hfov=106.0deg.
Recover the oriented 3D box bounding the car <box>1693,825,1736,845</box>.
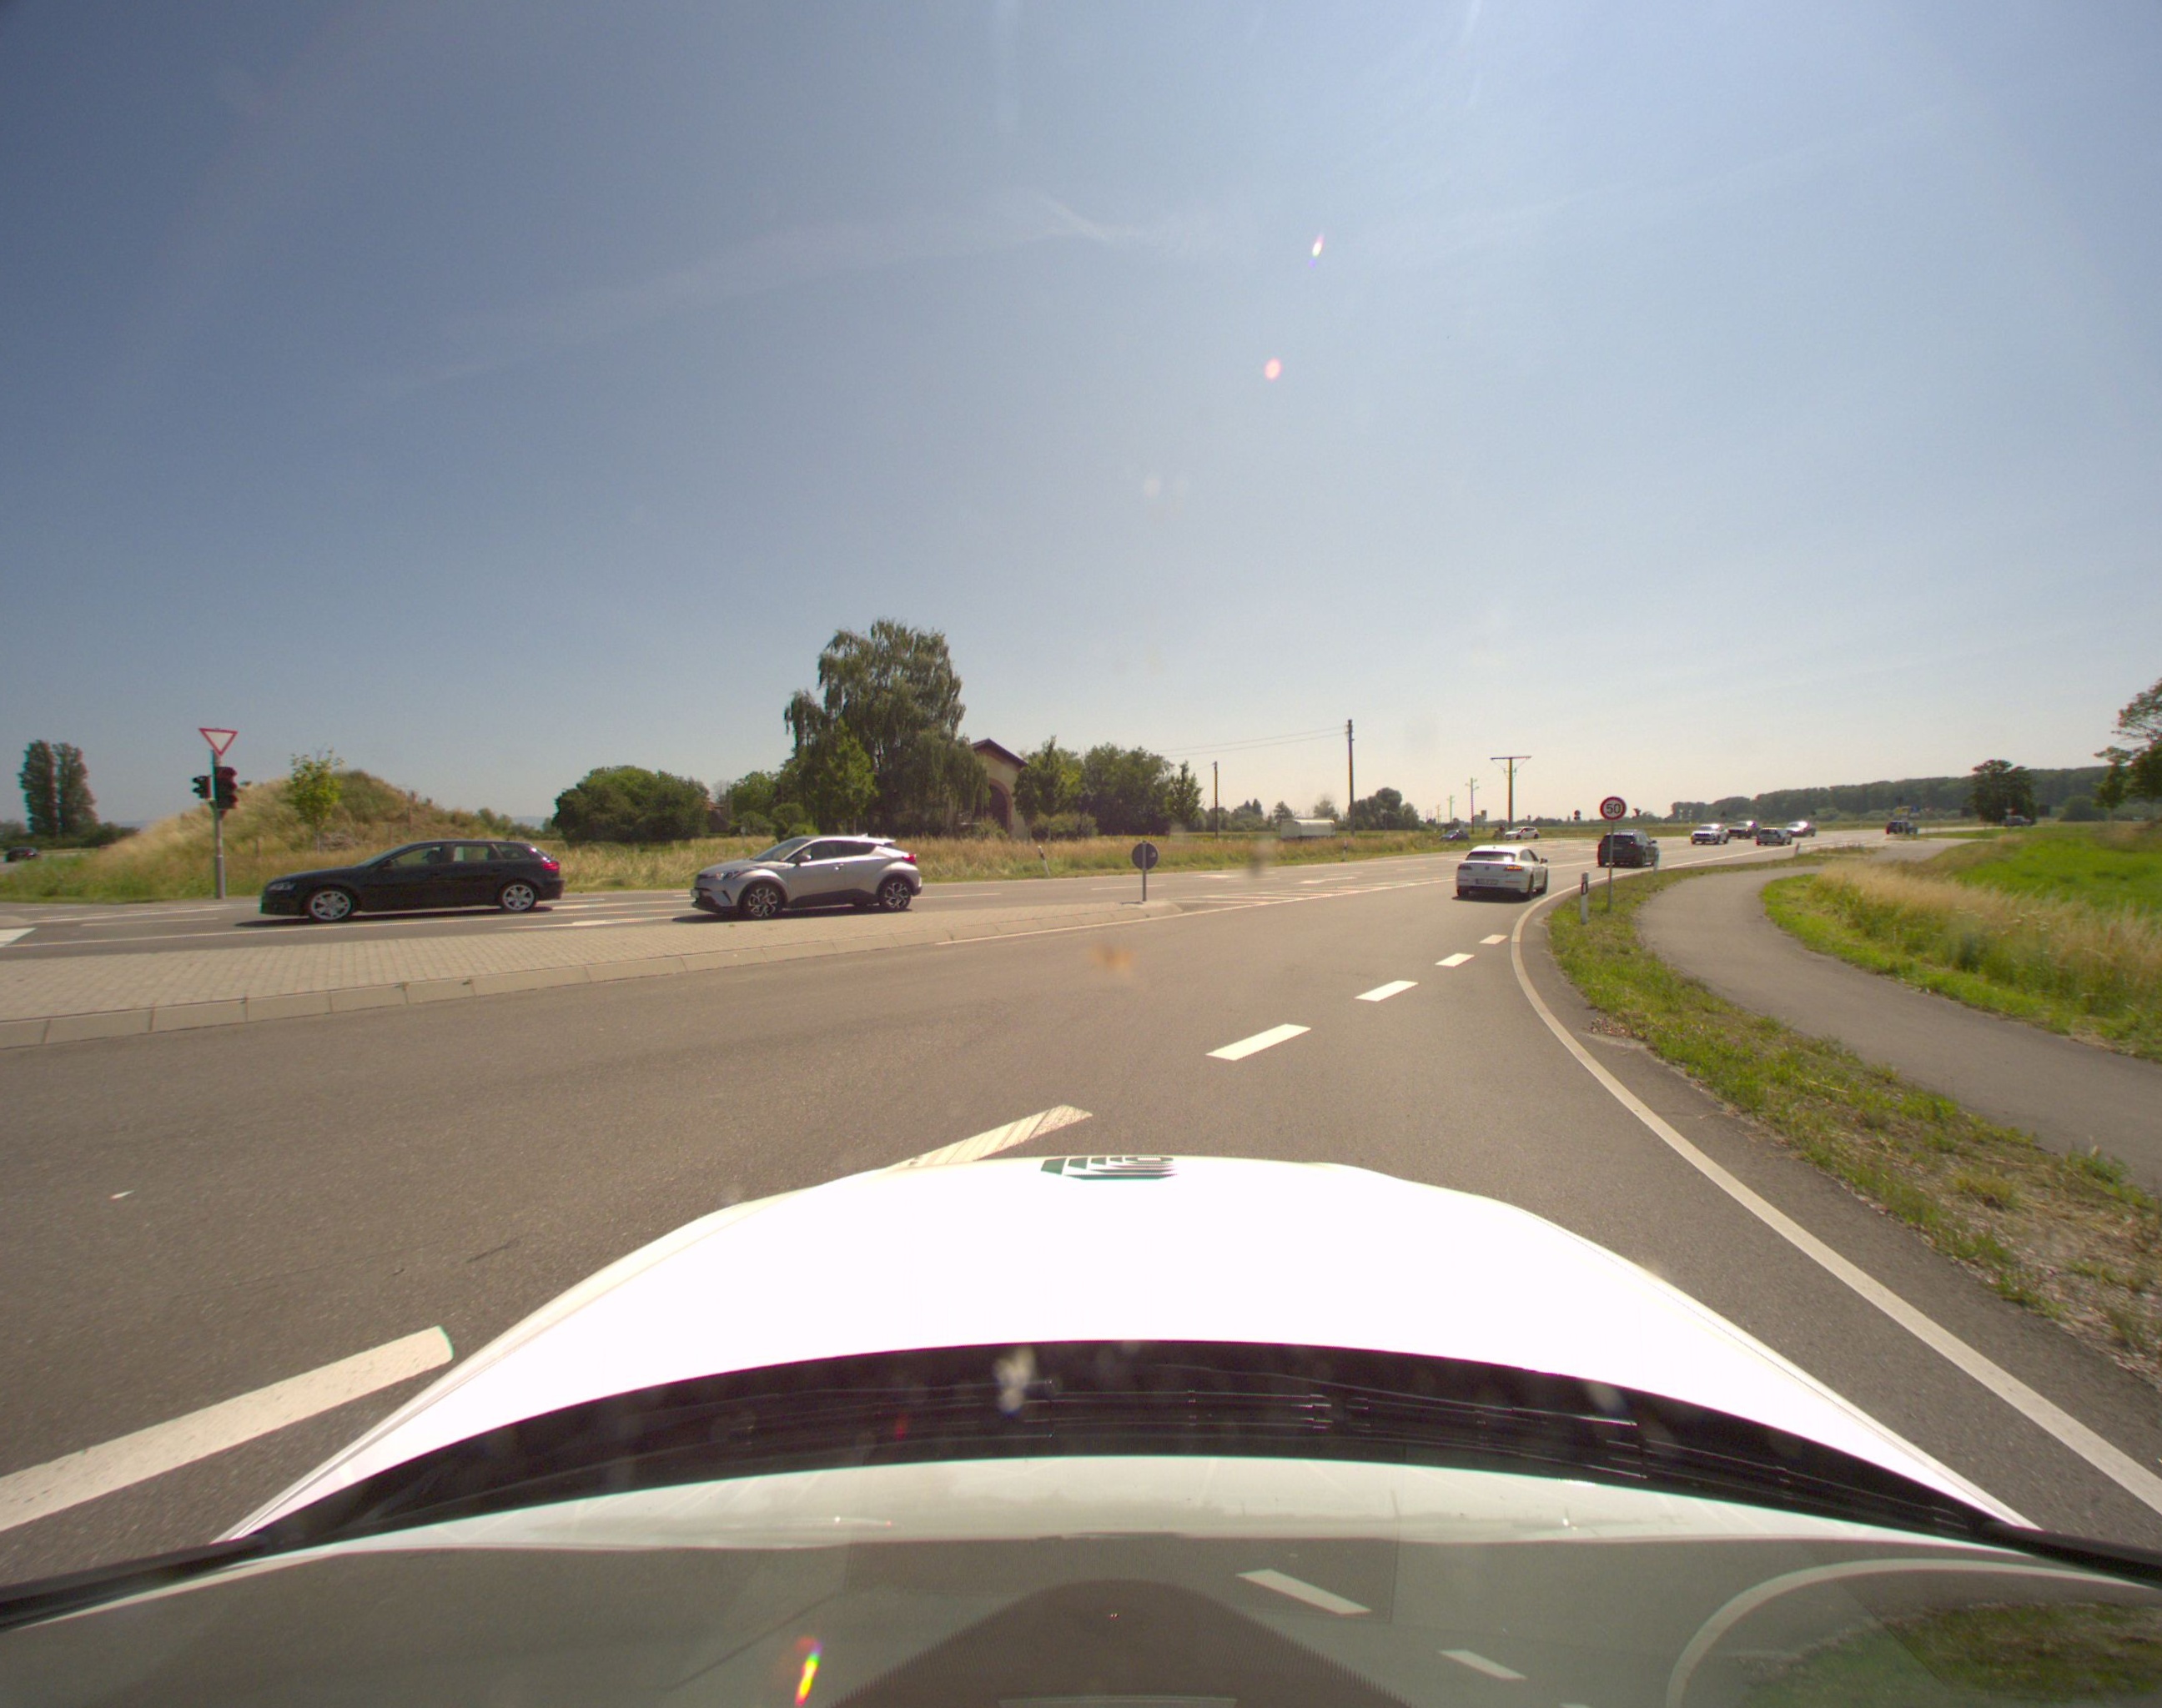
[{"bbox_3d":[53.590,-1.606,68.886,4.868,1.650,1.863,-1,3,-40],"label":"car"}]

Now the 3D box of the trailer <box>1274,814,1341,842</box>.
[{"bbox_3d":[20.852,-2.399,74.926,6.414,2.455,2.656,-2,3,-38],"label":"trailer"}]

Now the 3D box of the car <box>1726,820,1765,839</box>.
[{"bbox_3d":[65.667,-2.393,80.482,4.436,1.724,2.062,0,0,-38],"label":"car"}]

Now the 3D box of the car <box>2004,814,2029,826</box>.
[{"bbox_3d":[128.023,-4.638,111.473,3.899,1.522,1.786,-1,-1,-35],"label":"car"}]

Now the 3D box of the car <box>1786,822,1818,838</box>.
[{"bbox_3d":[74.905,-2.516,84.619,4.436,1.556,1.718,0,0,-39],"label":"car"}]

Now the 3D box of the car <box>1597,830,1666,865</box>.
[{"bbox_3d":[27.003,-0.285,39.895,4.403,1.616,1.917,0,0,-43],"label":"car"}]

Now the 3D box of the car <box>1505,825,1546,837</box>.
[{"bbox_3d":[50.322,-2.611,92.263,4.032,1.332,1.688,0,2,-16],"label":"car"}]

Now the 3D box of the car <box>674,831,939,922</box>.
[{"bbox_3d":[-5.246,0.330,15.932,4.574,1.543,1.850,-1,2,-39],"label":"car"}]

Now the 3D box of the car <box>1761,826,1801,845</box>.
[{"bbox_3d":[56.659,-1.464,65.913,4.113,1.429,1.784,0,-1,-40],"label":"car"}]

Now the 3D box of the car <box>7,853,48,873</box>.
[{"bbox_3d":[-103.865,0.842,80.354,4.411,1.894,1.998,0,0,44],"label":"car"}]

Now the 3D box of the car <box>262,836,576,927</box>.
[{"bbox_3d":[-12.030,0.398,15.129,4.296,1.368,1.755,-2,3,-40],"label":"car"}]

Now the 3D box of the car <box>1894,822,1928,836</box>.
[{"bbox_3d":[91.725,-2.714,89.994,4.430,1.476,1.787,0,0,-32],"label":"car"}]

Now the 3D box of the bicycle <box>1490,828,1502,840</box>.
[{"bbox_3d":[43.857,-2.130,86.051,1.516,1.247,0.487,-1,2,-34],"label":"bicycle"}]

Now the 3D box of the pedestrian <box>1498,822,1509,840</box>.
[{"bbox_3d":[44.542,-2.423,85.817,0.849,1.785,0.604,0,2,-32],"label":"pedestrian"}]

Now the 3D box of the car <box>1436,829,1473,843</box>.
[{"bbox_3d":[38.813,-1.870,84.603,3.854,1.387,1.661,-1,2,-35],"label":"car"}]

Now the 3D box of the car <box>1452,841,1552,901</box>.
[{"bbox_3d":[11.861,0.398,22.797,1.830,1.433,4.638,2,2,35],"label":"car"}]

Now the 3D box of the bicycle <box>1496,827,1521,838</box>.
[{"bbox_3d":[53.660,-2.700,102.216,2.583,1.372,0.908,-1,-1,37],"label":"bicycle"}]
